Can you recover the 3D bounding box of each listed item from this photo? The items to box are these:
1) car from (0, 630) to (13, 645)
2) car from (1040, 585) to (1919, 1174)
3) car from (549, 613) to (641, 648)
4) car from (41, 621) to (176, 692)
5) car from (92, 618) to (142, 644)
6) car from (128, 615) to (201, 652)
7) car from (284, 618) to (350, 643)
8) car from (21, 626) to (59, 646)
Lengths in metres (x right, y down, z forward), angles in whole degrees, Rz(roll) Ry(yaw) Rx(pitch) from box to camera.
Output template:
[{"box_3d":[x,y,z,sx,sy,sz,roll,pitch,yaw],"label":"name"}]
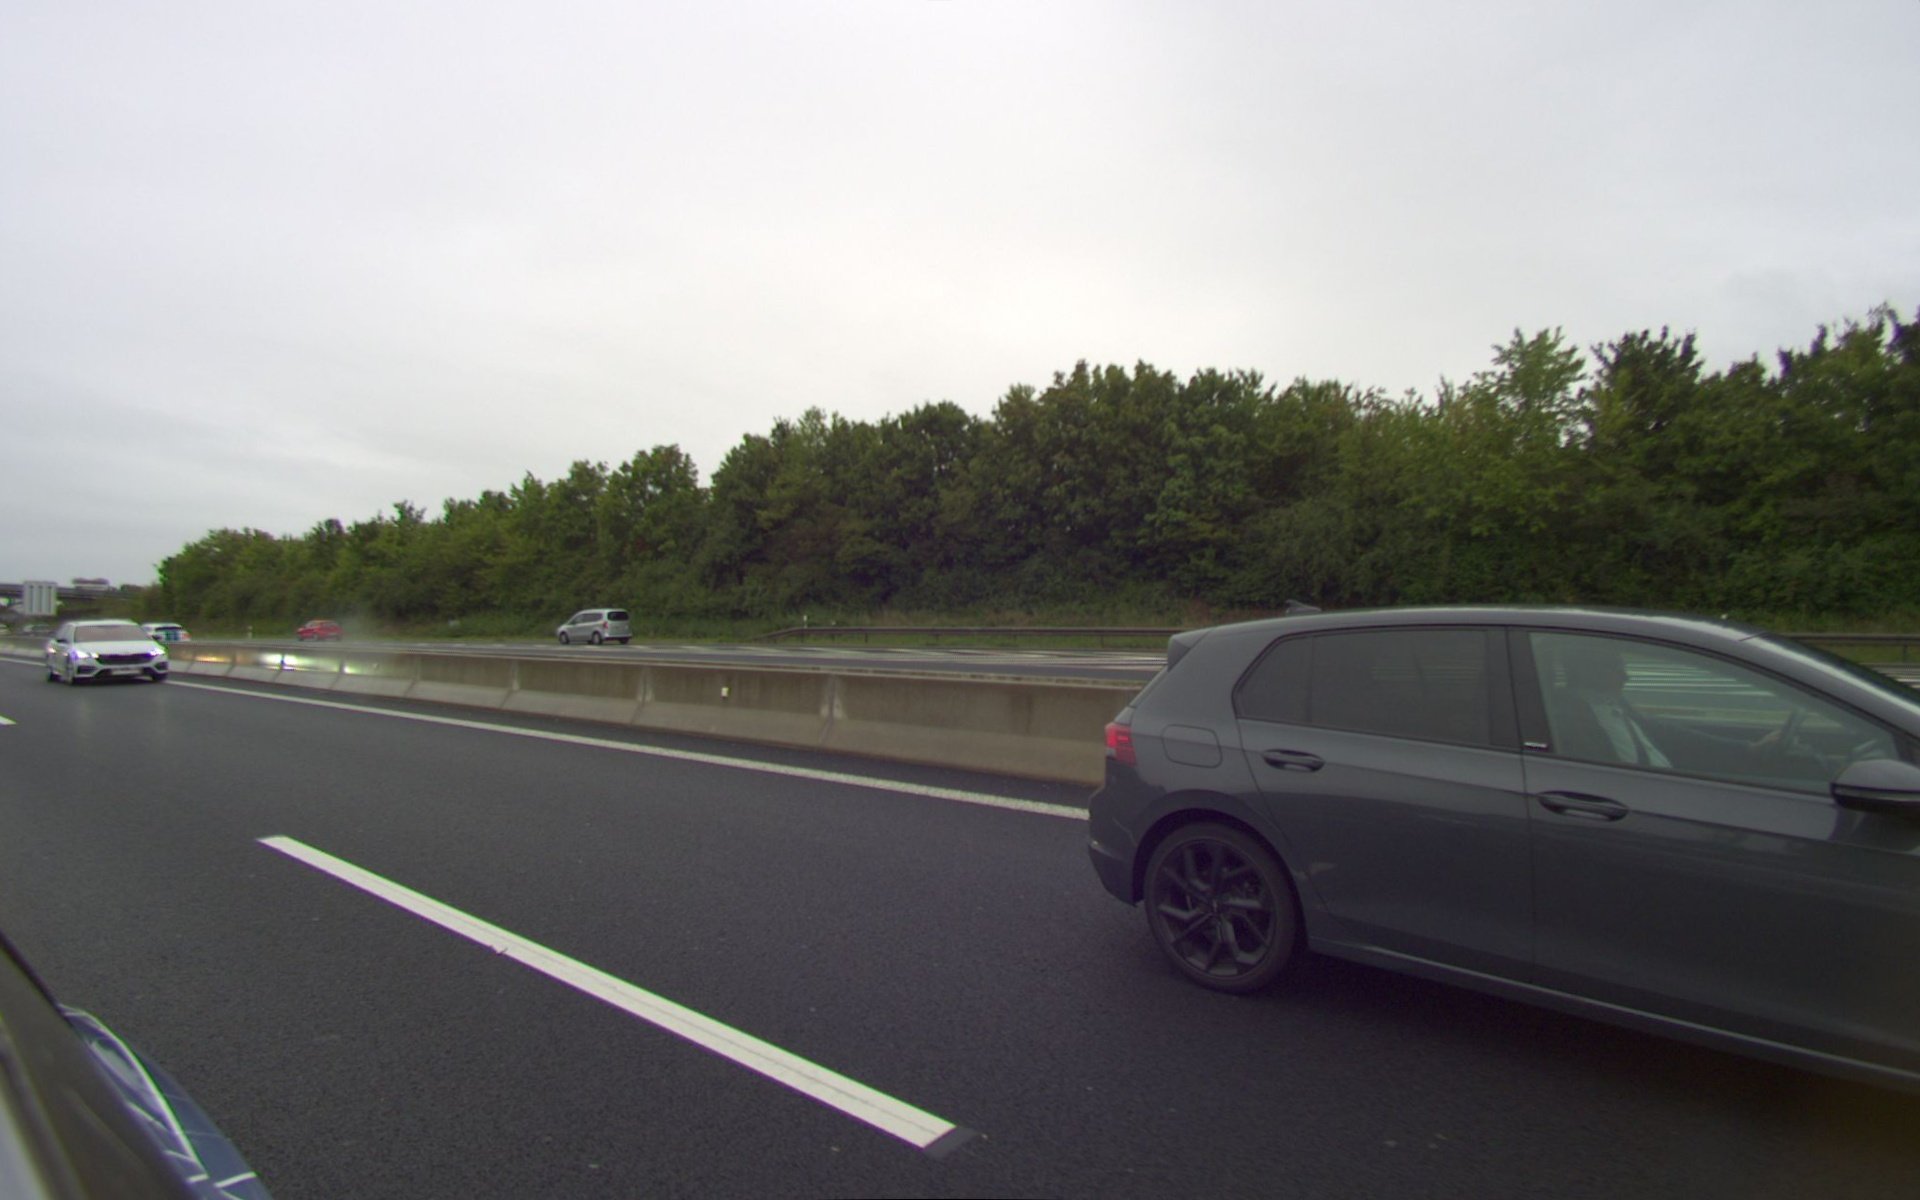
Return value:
[{"box_3d":[-112.191,4.350,117.992,4.535,1.647,2.157,-2,-1,41],"label":"car"},{"box_3d":[2.617,0.685,3.421,4.457,1.416,1.880,-2,-1,42],"label":"car"},{"box_3d":[-18.877,1.578,52.246,4.553,1.708,2.163,-1,-1,32],"label":"car"},{"box_3d":[-20.230,1.274,23.981,4.112,1.518,1.880,-2,-1,42],"label":"car"},{"box_3d":[-59.092,2.180,70.919,4.732,1.708,2.156,-2,-2,43],"label":"car"},{"box_3d":[-39.455,1.648,50.165,4.865,1.708,2.156,-2,-2,43],"label":"car"},{"box_3d":[-45.684,2.188,71.858,4.611,1.708,2.164,-1,-1,31],"label":"car"},{"box_3d":[-82.658,3.213,90.878,5.250,1.708,2.156,-2,-2,44],"label":"car"}]
